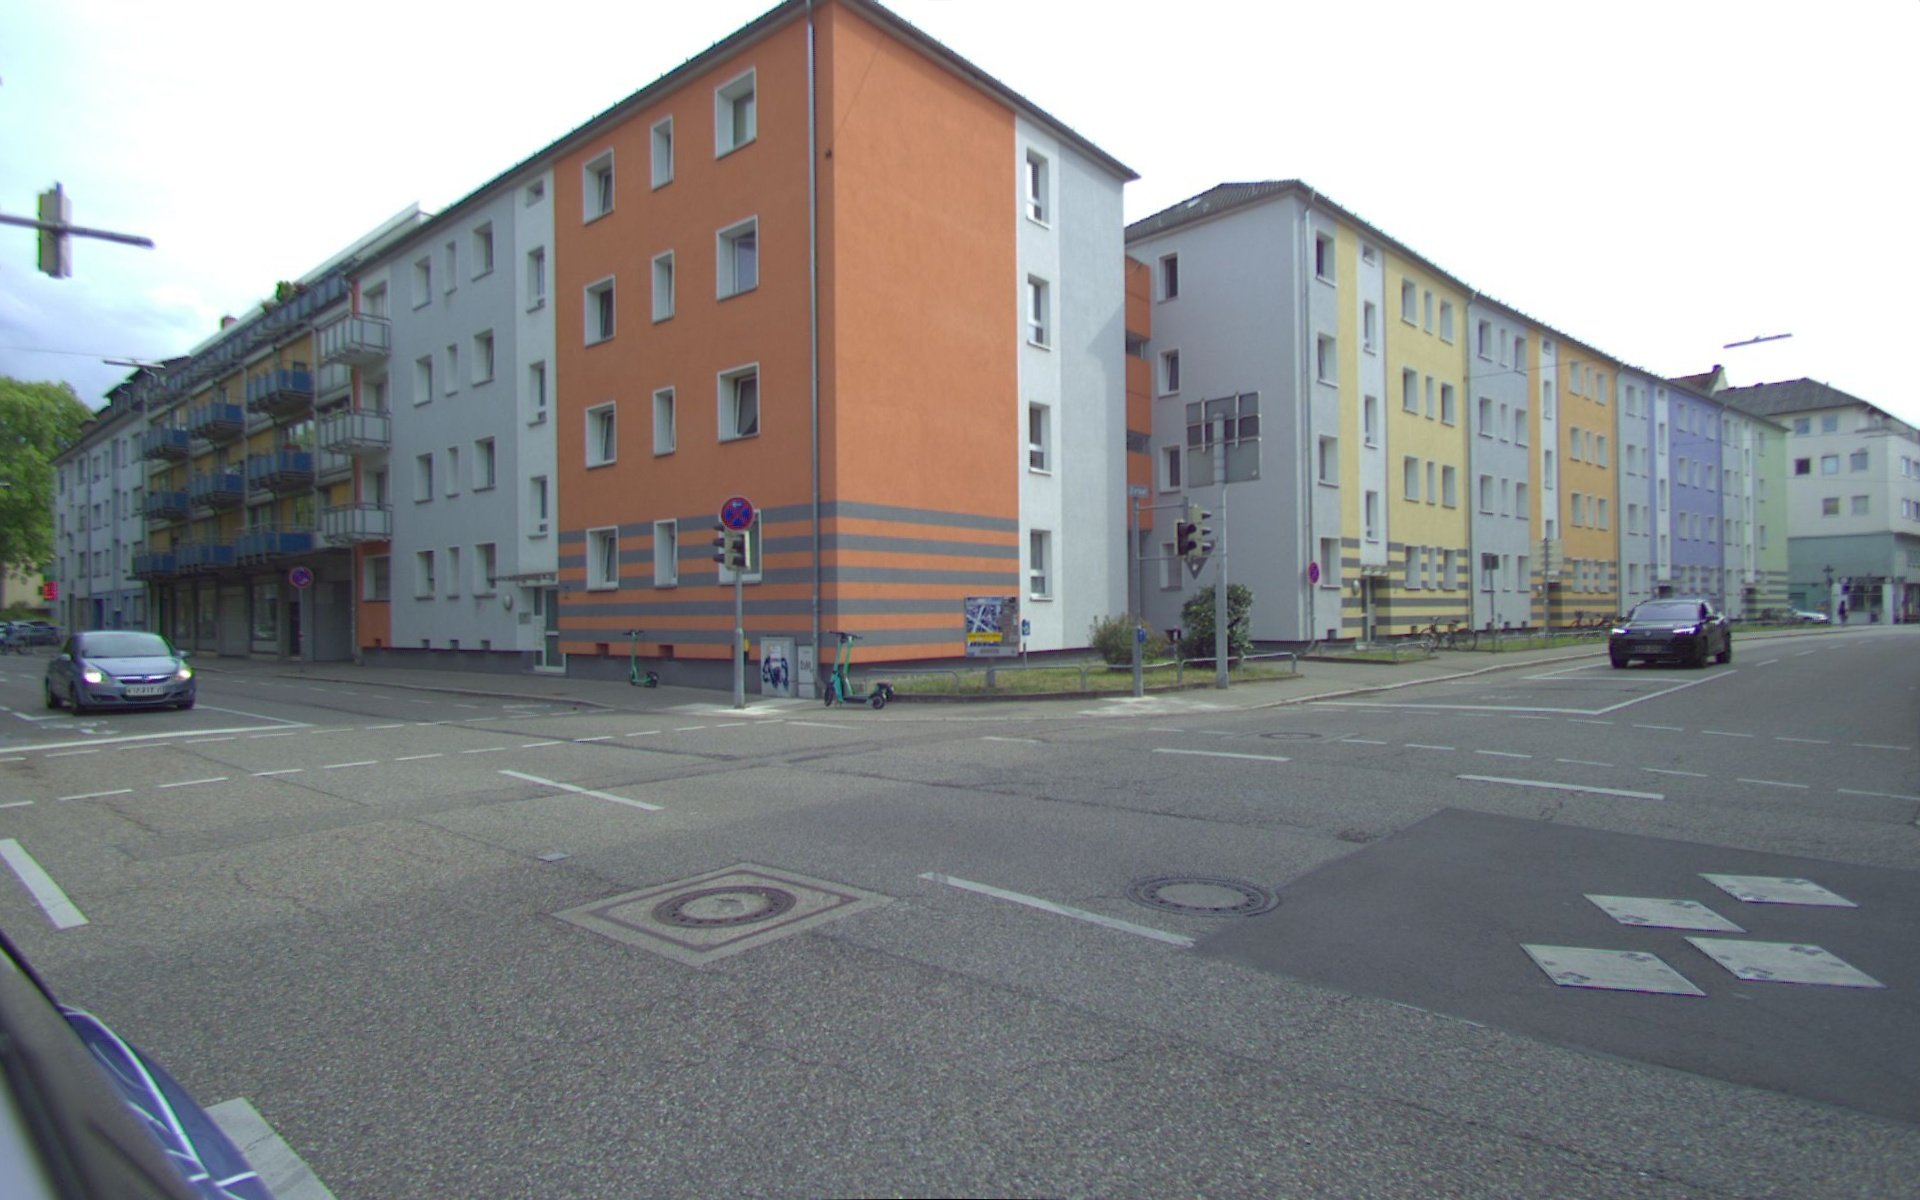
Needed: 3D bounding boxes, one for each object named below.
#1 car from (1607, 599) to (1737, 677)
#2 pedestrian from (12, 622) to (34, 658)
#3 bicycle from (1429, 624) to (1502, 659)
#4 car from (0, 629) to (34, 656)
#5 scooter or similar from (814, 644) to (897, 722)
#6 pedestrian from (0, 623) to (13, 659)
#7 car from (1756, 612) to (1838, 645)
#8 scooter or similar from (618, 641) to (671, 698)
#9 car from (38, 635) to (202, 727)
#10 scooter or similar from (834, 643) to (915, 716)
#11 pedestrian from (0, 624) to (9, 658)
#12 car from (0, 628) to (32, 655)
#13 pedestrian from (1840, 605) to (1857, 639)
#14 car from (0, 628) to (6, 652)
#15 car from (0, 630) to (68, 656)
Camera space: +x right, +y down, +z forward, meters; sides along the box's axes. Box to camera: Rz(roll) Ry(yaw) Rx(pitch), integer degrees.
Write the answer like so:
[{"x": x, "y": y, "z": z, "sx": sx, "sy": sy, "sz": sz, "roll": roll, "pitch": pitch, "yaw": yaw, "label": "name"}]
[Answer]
[{"x": 17.259, "y": 0.861, "z": 24.460, "sx": 1.900, "sy": 1.612, "sz": 3.942, "roll": -2, "pitch": 0, "yaw": 45, "label": "car"}, {"x": -54.678, "y": 2.346, "z": 59.066, "sx": 0.875, "sy": 2.029, "sz": 0.831, "roll": -2, "pitch": 0, "yaw": 45, "label": "pedestrian"}, {"x": 15.240, "y": 1.249, "z": 30.524, "sx": 1.867, "sy": 1.019, "sz": 0.554, "roll": -2, "pitch": 0, "yaw": 44, "label": "bicycle"}, {"x": -76.837, "y": 3.436, "z": 80.882, "sx": 1.998, "sy": 2.029, "sz": 3.947, "roll": -2, "pitch": 0, "yaw": 40, "label": "car"}, {"x": -1.675, "y": 1.322, "z": 16.178, "sx": 1.336, "sy": 1.188, "sz": 0.327, "roll": -2, "pitch": 0, "yaw": 28, "label": "scooter or similar"}, {"x": -55.125, "y": 2.367, "z": 58.223, "sx": 0.875, "sy": 2.029, "sz": 0.831, "roll": -2, "pitch": 0, "yaw": 45, "label": "pedestrian"}, {"x": 55.113, "y": 1.906, "z": 66.666, "sx": 4.000, "sy": 2.029, "sz": 1.972, "roll": -2, "pitch": 0, "yaw": 43, "label": "car"}, {"x": -6.524, "y": 1.416, "z": 20.906, "sx": 1.353, "sy": 1.132, "sz": 0.364, "roll": -2, "pitch": 0, "yaw": 41, "label": "scooter or similar"}, {"x": -15.228, "y": 1.390, "z": 18.285, "sx": 3.817, "sy": 1.449, "sz": 1.652, "roll": -2, "pitch": -2, "yaw": 40, "label": "car"}, {"x": -1.422, "y": 1.305, "z": 16.762, "sx": 1.347, "sy": 1.166, "sz": 0.327, "roll": -2, "pitch": 0, "yaw": 28, "label": "scooter or similar"}, {"x": -57.284, "y": 2.440, "z": 60.268, "sx": 0.875, "sy": 2.029, "sz": 0.831, "roll": -2, "pitch": 0, "yaw": 45, "label": "pedestrian"}, {"x": -75.202, "y": 3.285, "z": 78.906, "sx": 1.998, "sy": 2.029, "sz": 3.947, "roll": -2, "pitch": 0, "yaw": 40, "label": "car"}, {"x": 53.435, "y": 1.322, "z": 60.867, "sx": 0.721, "sy": 2.029, "sz": 0.554, "roll": -2, "pitch": 0, "yaw": -31, "label": "pedestrian"}, {"x": -84.401, "y": 3.547, "z": 86.517, "sx": 1.998, "sy": 2.029, "sz": 3.947, "roll": -2, "pitch": 0, "yaw": 40, "label": "car"}, {"x": -70.679, "y": 3.259, "z": 77.103, "sx": 1.881, "sy": 1.701, "sz": 3.822, "roll": -2, "pitch": 0, "yaw": 40, "label": "car"}]
